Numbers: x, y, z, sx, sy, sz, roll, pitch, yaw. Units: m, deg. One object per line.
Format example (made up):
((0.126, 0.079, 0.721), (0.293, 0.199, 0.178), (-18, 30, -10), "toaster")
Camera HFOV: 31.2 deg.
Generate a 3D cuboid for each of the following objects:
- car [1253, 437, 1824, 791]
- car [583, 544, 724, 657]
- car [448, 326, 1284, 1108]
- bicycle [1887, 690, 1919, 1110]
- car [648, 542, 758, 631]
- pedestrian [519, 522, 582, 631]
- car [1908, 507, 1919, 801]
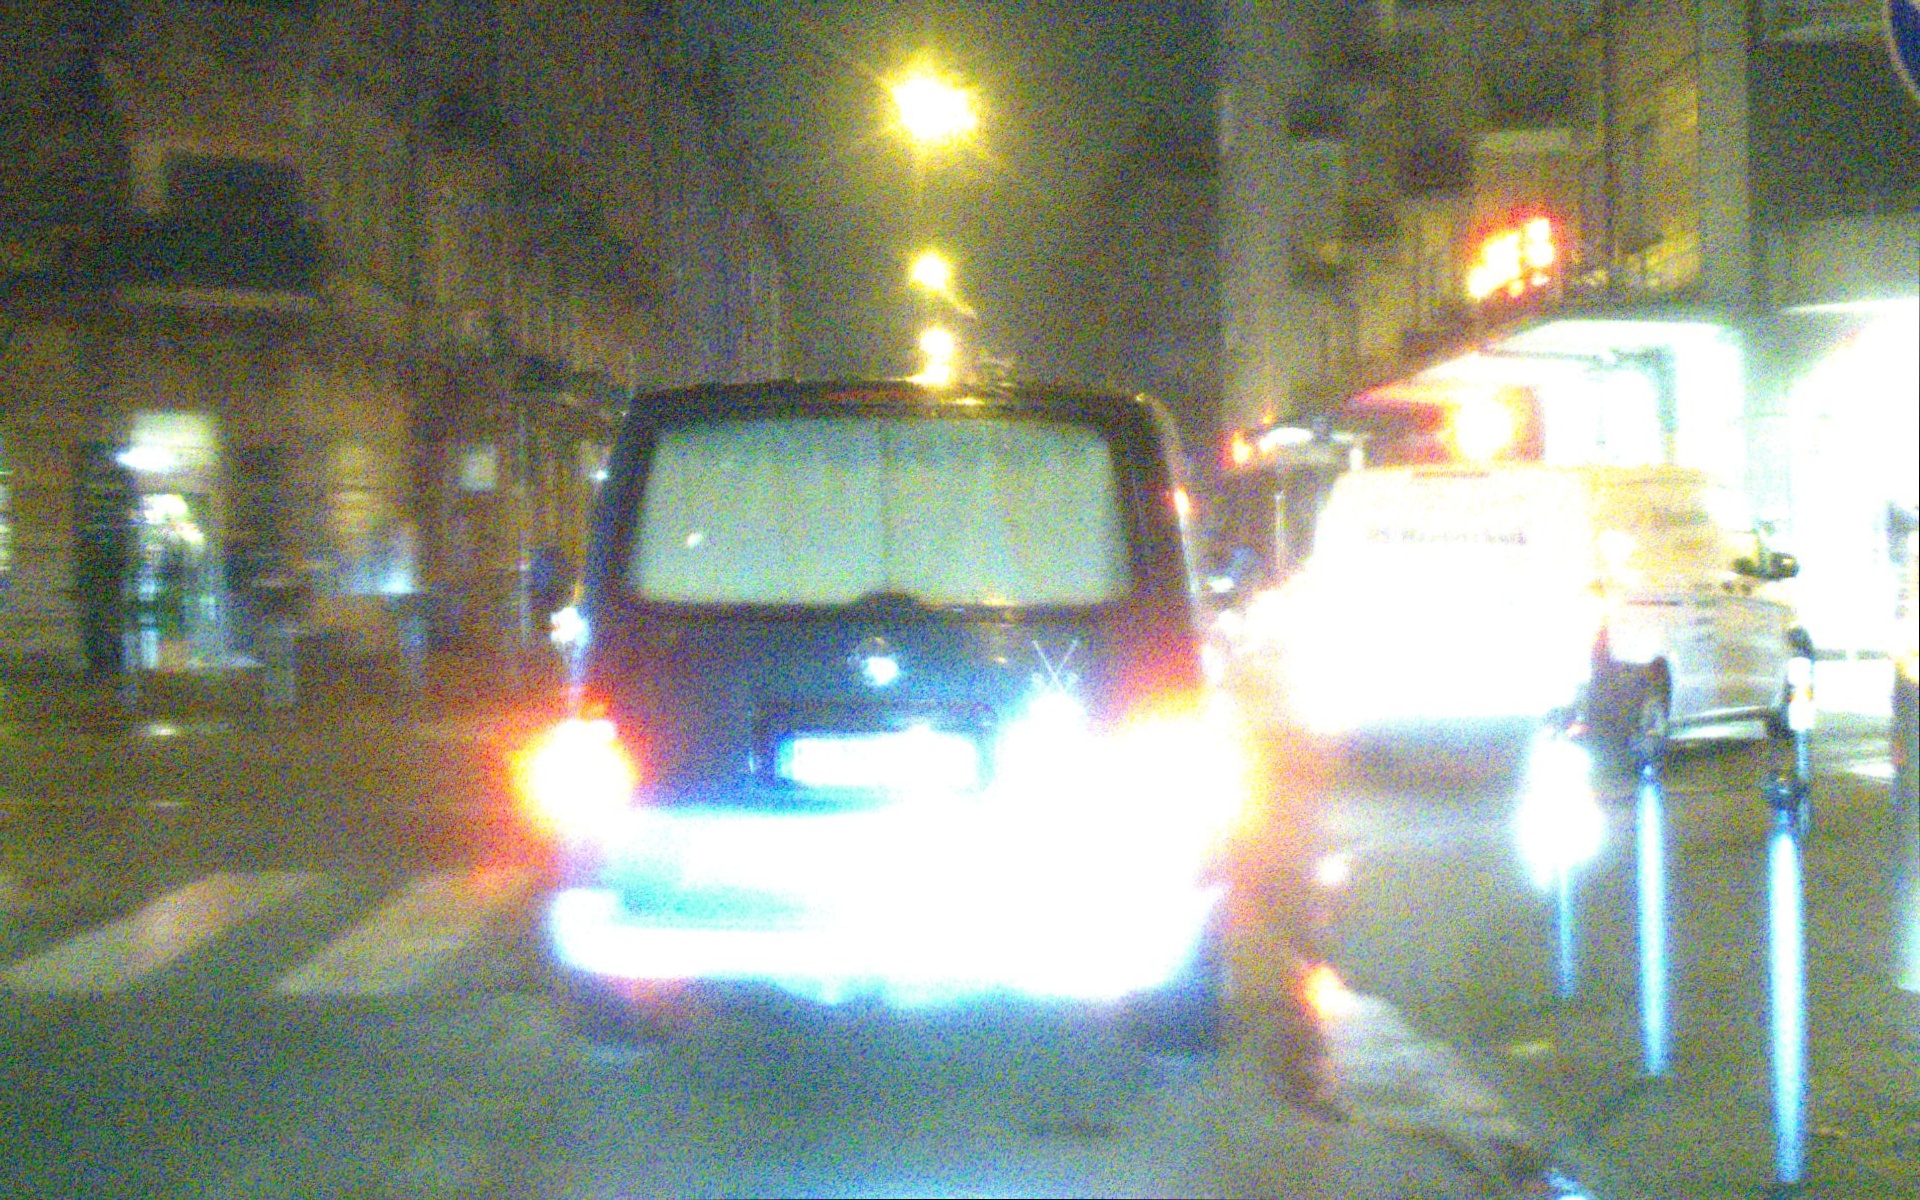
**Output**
((3.706, 0.026, 21.217), (2.126, 1.916, 4.819), (1, 1, 27), "car")
((-4.316, -0.025, 48.926), (1.586, 1.458, 4.024), (2, 1, 0), "car")
((-0.240, 0.266, 11.068), (2.122, 1.984, 4.601), (0, 1, 0), "car")
((3.014, 0.736, 8.051), (1.645, 1.023, 0.335), (0, 2, 44), "bicycle")
((-4.294, -0.244, 57.890), (1.586, 1.444, 3.503), (0, 1, 0), "car")
((-6.750, -0.390, 56.740), (0.804, 1.760, 1.015), (1, 0, 6), "pedestrian")
((3.841, 0.526, 5.753), (4.249, 1.568, 1.772), (-3, 1, -28), "car")
